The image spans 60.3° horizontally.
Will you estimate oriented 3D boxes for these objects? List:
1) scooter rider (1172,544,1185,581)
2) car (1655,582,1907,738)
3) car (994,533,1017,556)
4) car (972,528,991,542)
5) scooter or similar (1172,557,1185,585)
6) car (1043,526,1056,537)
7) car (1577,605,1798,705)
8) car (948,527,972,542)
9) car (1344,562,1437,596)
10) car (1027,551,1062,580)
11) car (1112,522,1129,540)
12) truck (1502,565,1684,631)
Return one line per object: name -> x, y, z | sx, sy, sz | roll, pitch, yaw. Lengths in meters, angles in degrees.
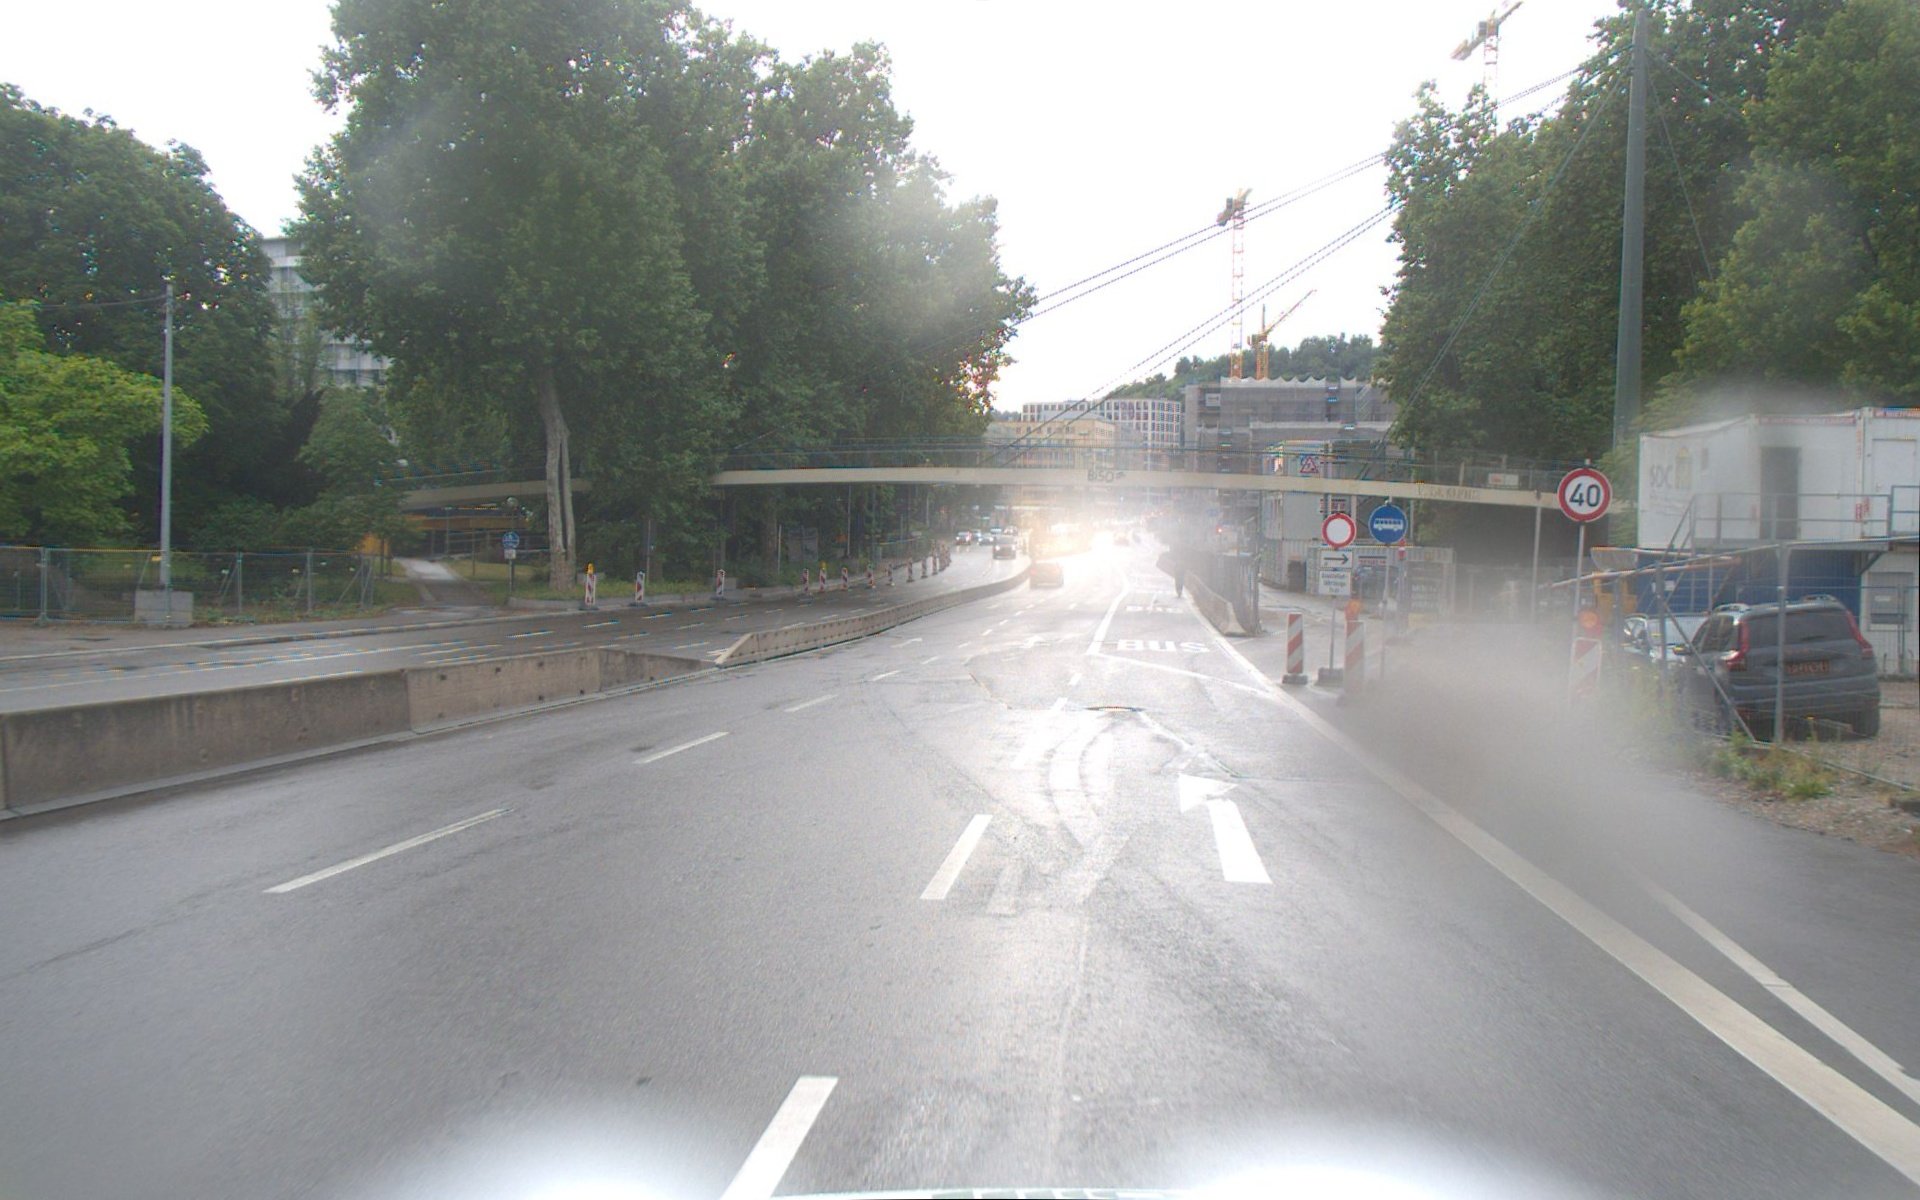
scooter rider -> 10.790, -1.866, 81.683 | 0.584, 1.816, 0.998 | 1, 2, 8
car -> 10.483, 0.694, 21.489 | 1.881, 1.678, 4.417 | -4, 0, 13
car -> 4.163, -5.026, 151.216 | 1.989, 1.970, 5.044 | -1, 1, 1
car -> 2.647, -8.003, 203.291 | 1.680, 1.361, 4.057 | -8, 2, -5
scooter or similar -> 10.799, -1.444, 81.694 | 0.584, 1.342, 1.669 | 1, 3, 8
car -> 13.144, -10.042, 242.297 | 1.862, 1.554, 4.179 | -1, 1, 3
car -> 11.937, 0.916, 27.439 | 1.813, 1.511, 3.998 | -1, -2, -1
car -> -0.004, -8.091, 203.563 | 1.995, 1.681, 4.307 | -1, 3, -13
car -> 22.391, -1.109, 86.131 | 4.447, 1.657, 1.789 | 1, 3, 4
car -> 4.761, -1.925, 93.051 | 1.862, 1.554, 4.179 | -1, 1, 3
car -> 19.460, -8.336, 200.739 | 1.951, 2.049, 4.003 | -1, 0, 7
truck -> 20.727, -0.071, 54.297 | 5.048, 2.049, 2.409 | 1, 0, -1
